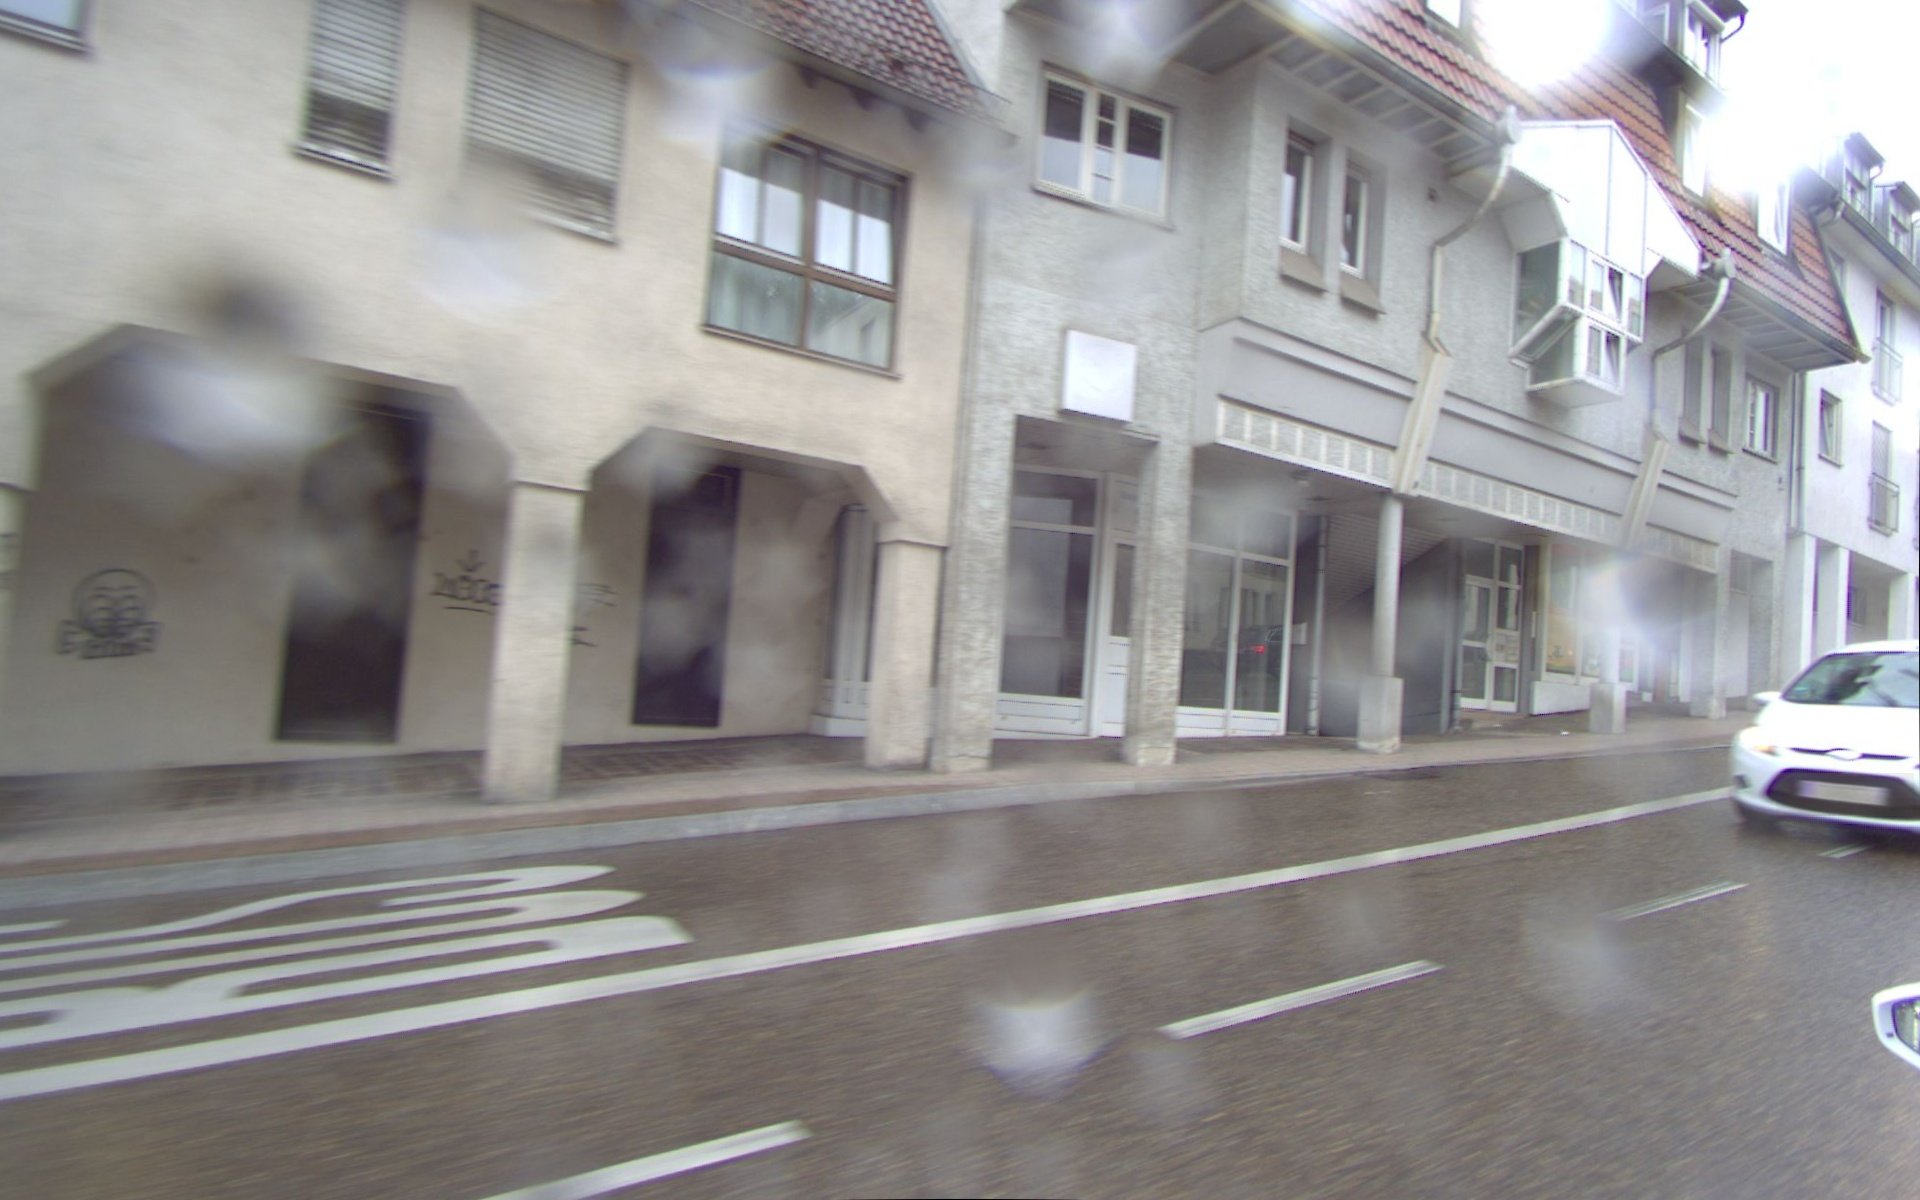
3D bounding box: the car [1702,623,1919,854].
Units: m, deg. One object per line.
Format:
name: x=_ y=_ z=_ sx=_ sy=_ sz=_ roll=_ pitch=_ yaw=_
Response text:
car: x=7.615 y=0.964 z=7.988 sx=3.551 sy=1.530 sz=1.667 roll=2 pitch=-2 yaw=-34
